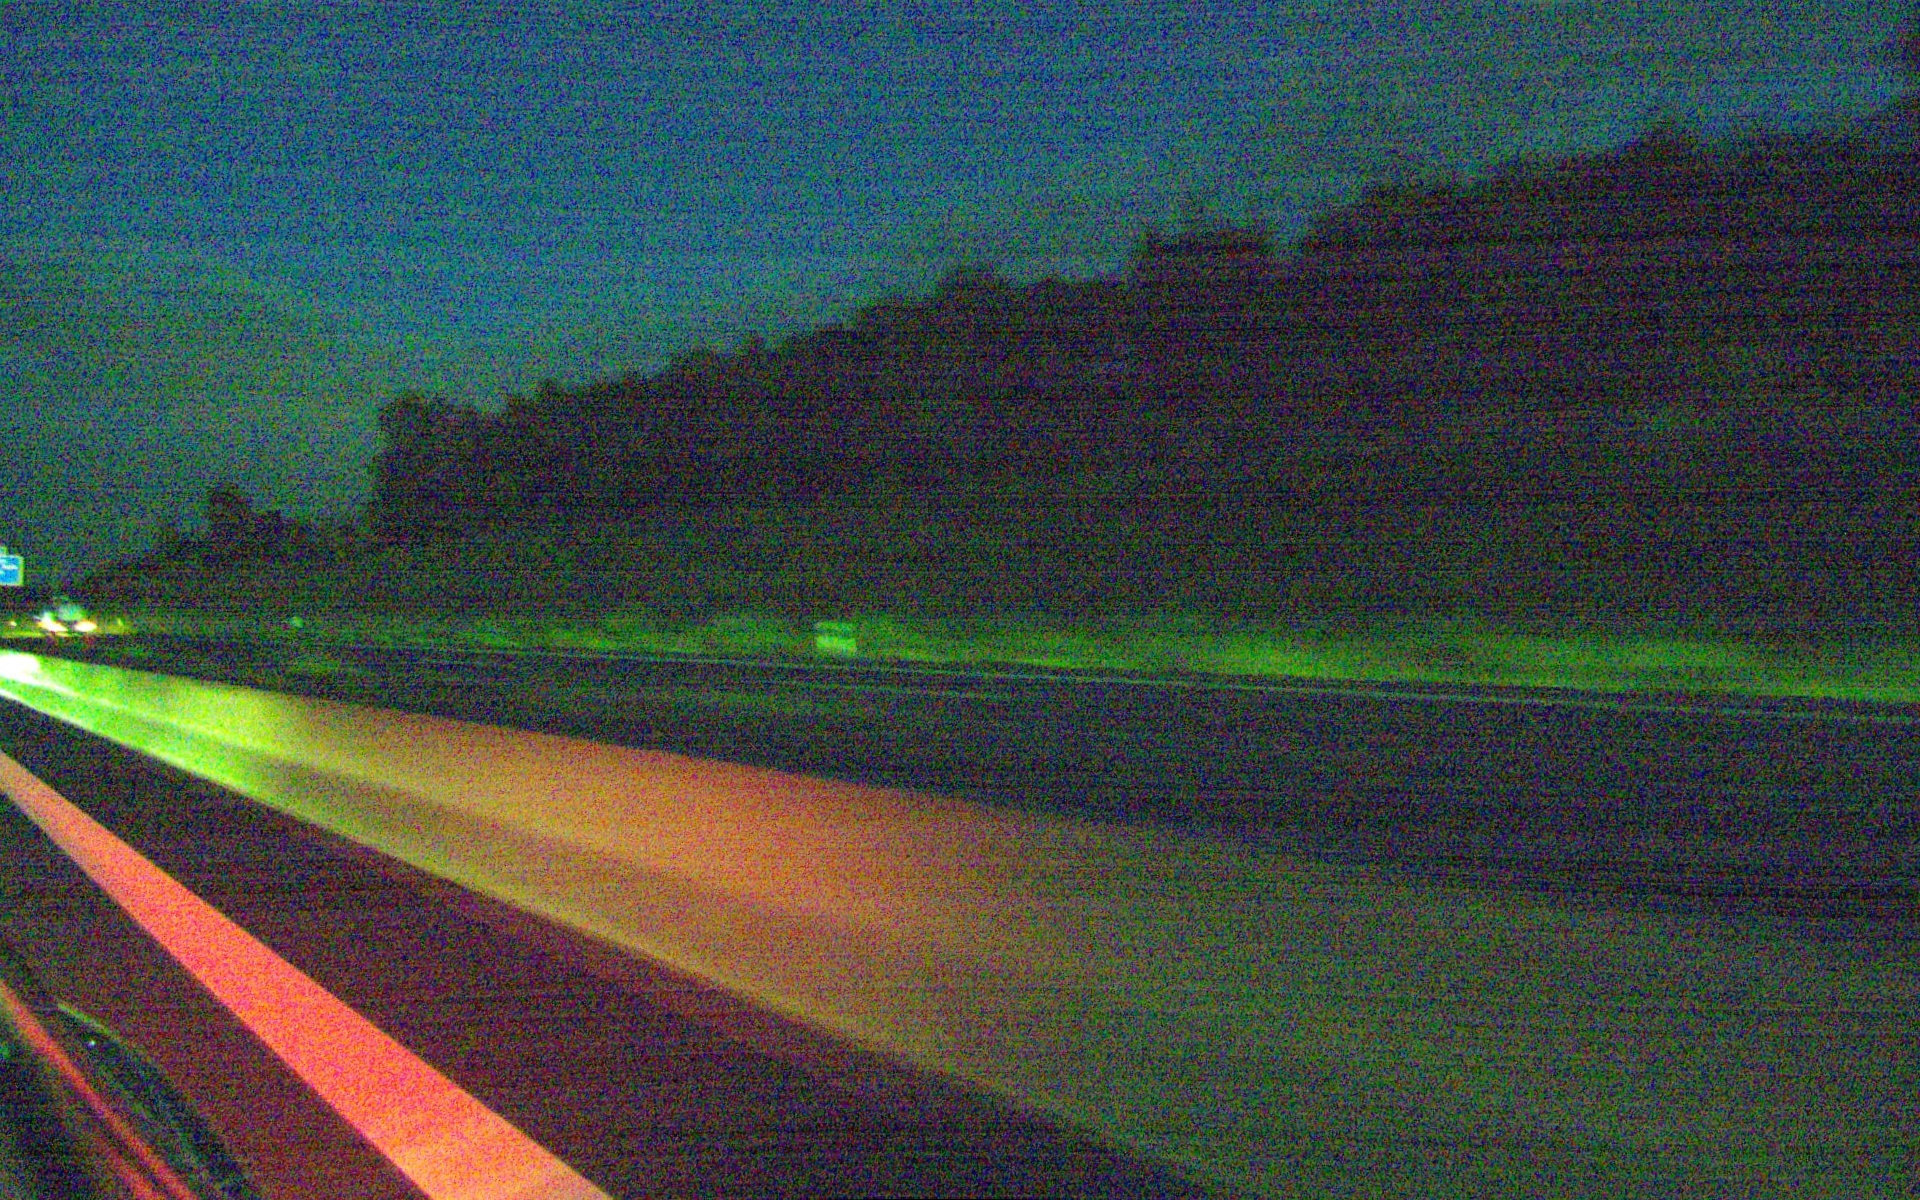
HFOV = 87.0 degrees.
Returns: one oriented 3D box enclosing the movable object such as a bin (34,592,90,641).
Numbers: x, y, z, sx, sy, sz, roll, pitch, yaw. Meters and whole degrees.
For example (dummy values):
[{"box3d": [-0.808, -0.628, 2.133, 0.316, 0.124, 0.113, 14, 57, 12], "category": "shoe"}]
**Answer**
[{"box3d": [-71.703, 1.333, 80.748, 7.680, 3.798, 2.270, -1, -1, 40], "category": "movable object such as a bin"}]
